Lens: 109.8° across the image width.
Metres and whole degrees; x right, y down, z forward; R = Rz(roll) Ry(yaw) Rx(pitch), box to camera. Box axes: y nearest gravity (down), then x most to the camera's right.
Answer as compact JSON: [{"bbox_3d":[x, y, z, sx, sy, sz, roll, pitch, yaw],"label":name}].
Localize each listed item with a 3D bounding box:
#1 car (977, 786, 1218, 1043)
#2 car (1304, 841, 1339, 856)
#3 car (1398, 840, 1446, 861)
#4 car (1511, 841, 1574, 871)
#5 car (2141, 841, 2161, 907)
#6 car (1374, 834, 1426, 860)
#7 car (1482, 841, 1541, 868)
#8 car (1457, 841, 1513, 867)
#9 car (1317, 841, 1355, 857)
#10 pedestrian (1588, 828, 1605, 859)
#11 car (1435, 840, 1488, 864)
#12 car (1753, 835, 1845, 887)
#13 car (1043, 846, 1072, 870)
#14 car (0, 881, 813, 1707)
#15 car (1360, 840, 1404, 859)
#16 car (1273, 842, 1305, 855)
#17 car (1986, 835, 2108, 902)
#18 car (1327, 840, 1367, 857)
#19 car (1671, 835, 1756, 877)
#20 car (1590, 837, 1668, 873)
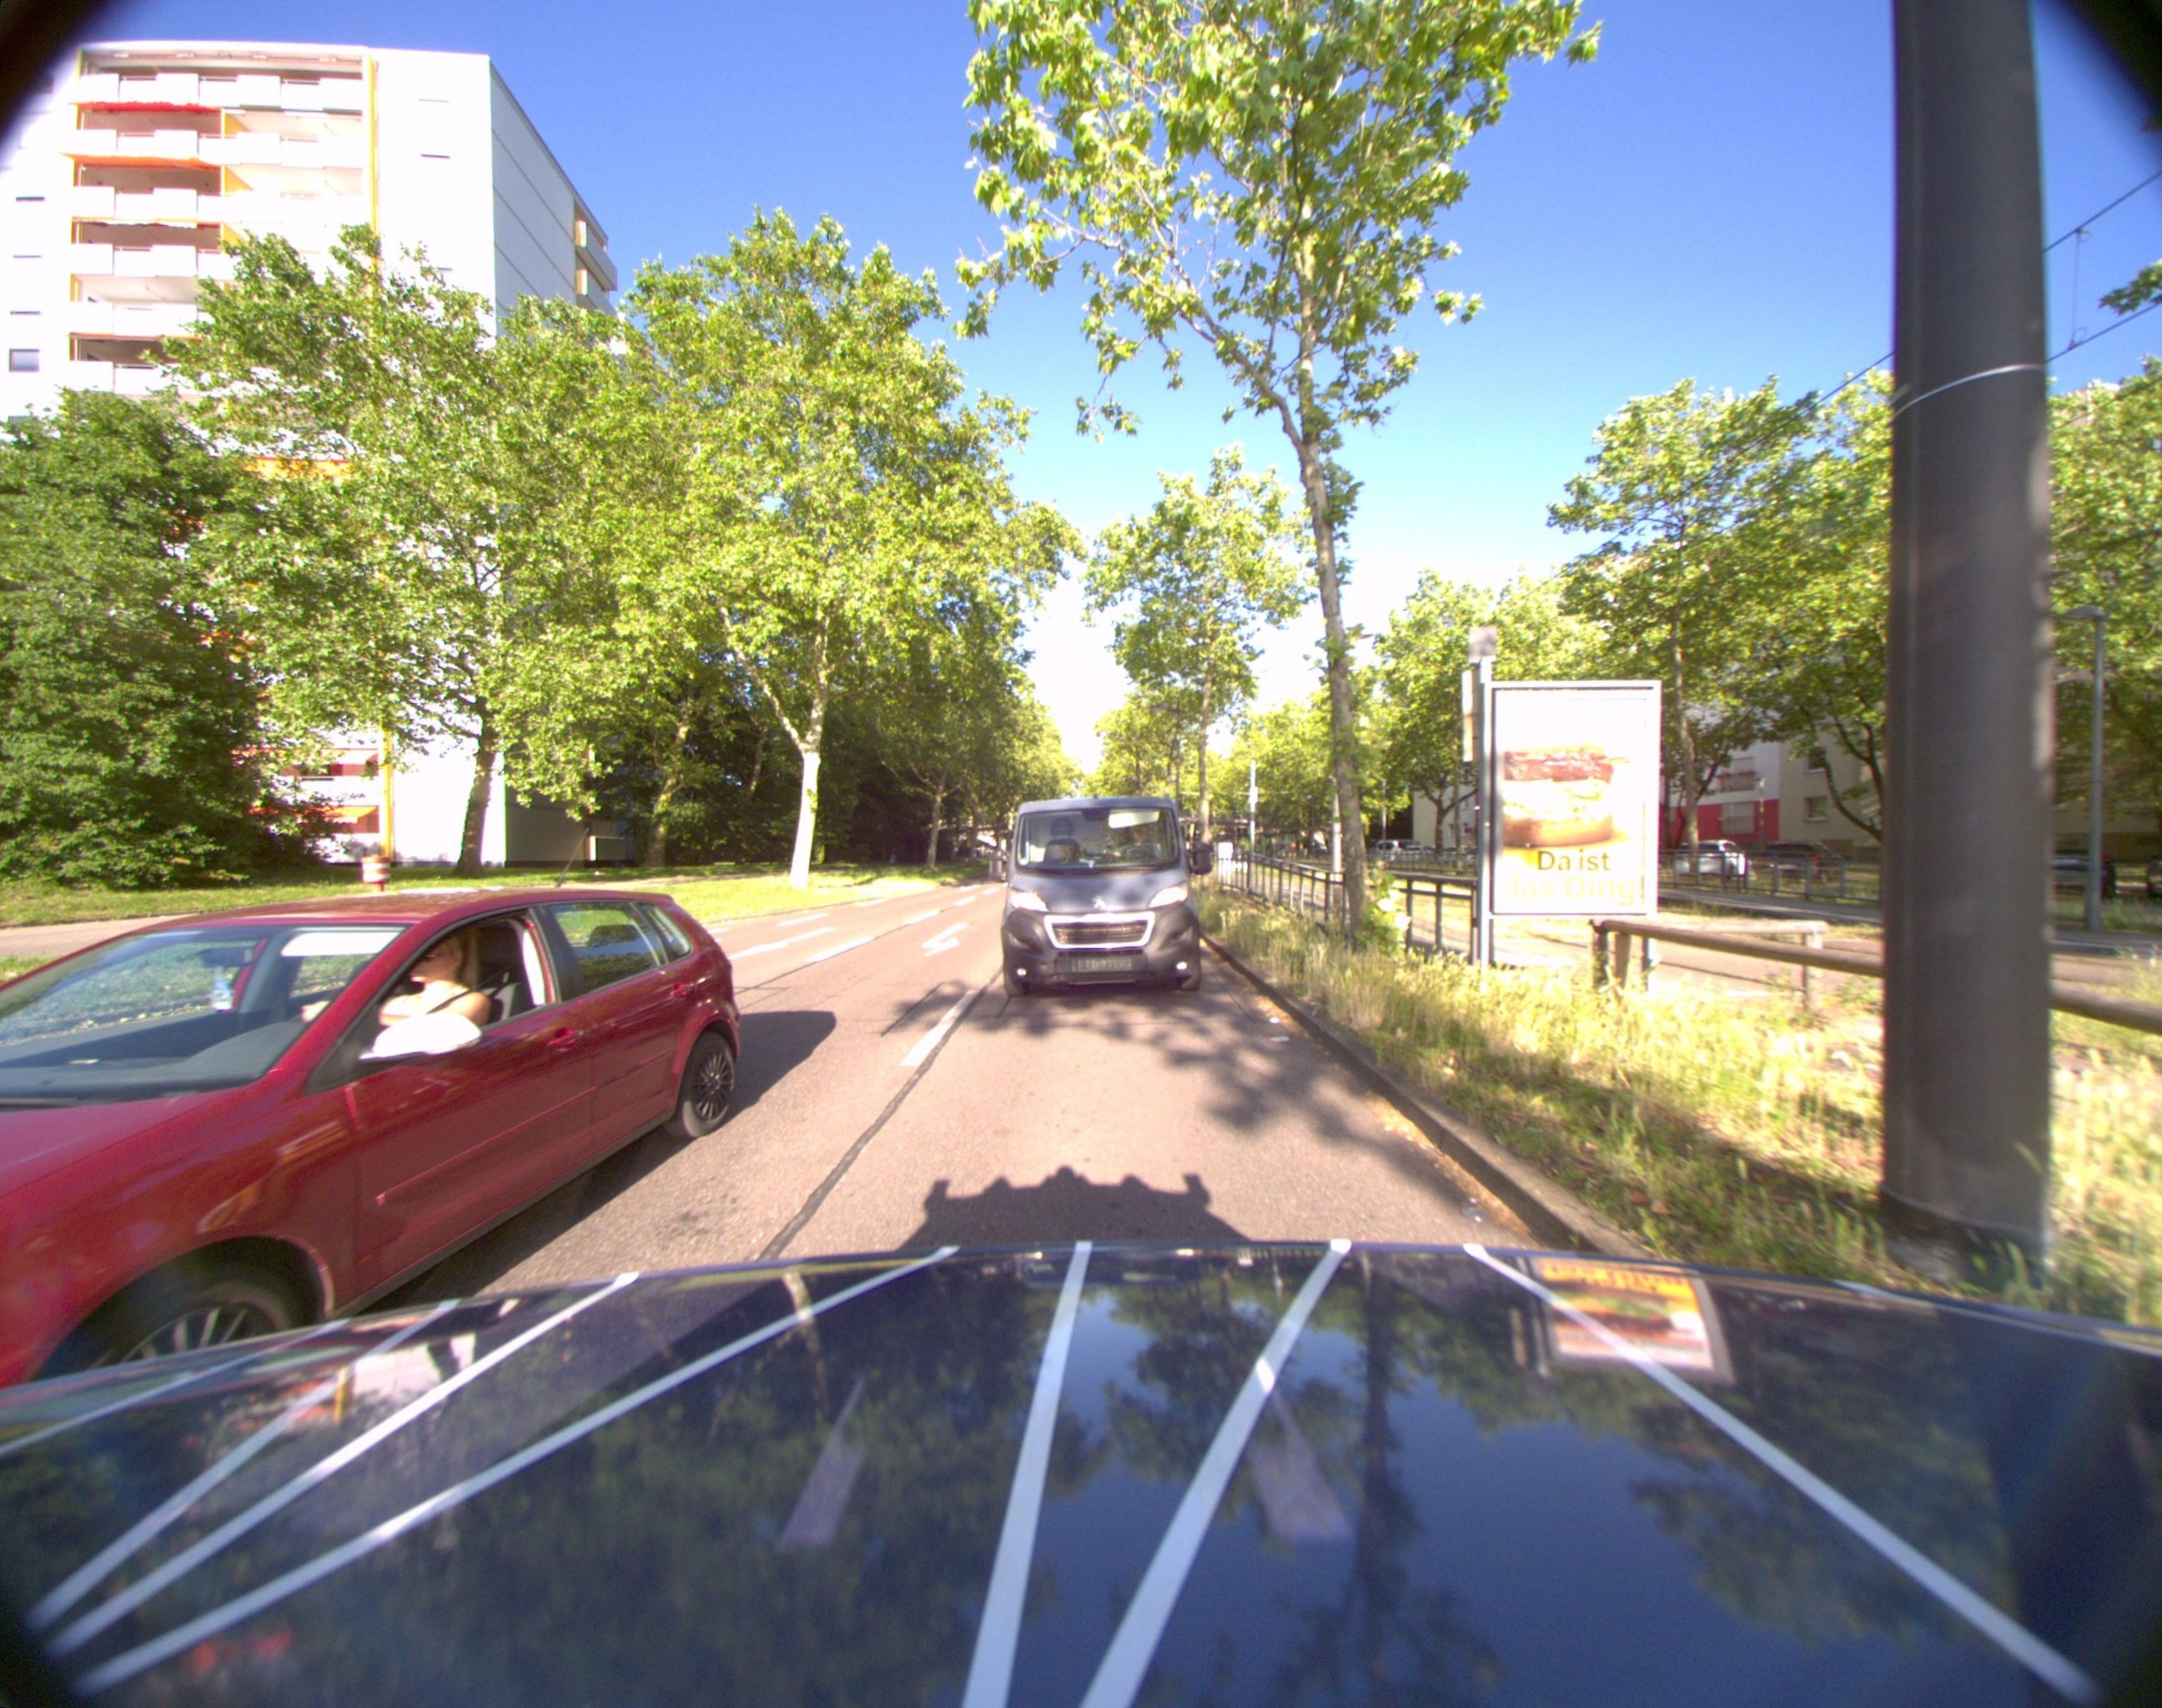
[{"bbox_3d":[0.159,0.489,9.414,2.040,2.191,5.660,-1,1,0],"label":"car"},{"bbox_3d":[26.231,-0.608,82.693,4.057,1.490,1.791,-2,0,-42],"label":"car"},{"bbox_3d":[25.772,-0.265,57.437,4.057,1.490,1.791,-2,0,-42],"label":"car"},{"bbox_3d":[25.076,0.104,41.246,4.057,1.490,1.791,-2,0,-42],"label":"car"},{"bbox_3d":[24.568,0.409,16.296,4.057,1.380,1.791,-2,0,-40],"label":"car"},{"bbox_3d":[25.374,-0.575,60.362,4.441,1.908,2.016,-2,0,-42],"label":"car"},{"bbox_3d":[25.575,0.031,45.064,4.057,1.490,1.791,-2,0,-42],"label":"car"},{"bbox_3d":[25.694,-0.005,48.261,4.057,1.490,1.791,-2,0,-42],"label":"car"},{"bbox_3d":[25.520,-0.527,76.028,4.057,1.490,1.791,-2,0,-42],"label":"car"},{"bbox_3d":[33.825,-0.673,49.856,0.680,2.002,0.645,-1,1,-3],"label":"pedestrian"},{"bbox_3d":[25.585,-0.162,51.010,4.057,1.490,1.791,-2,0,-42],"label":"car"},{"bbox_3d":[25.085,0.217,26.506,4.057,1.654,1.791,-2,0,-39],"label":"car"},{"bbox_3d":[-1.629,0.253,53.657,1.913,1.549,4.725,-1,0,-1],"label":"car"},{"bbox_3d":[-2.954,1.003,3.191,1.771,1.549,4.727,-1,0,3],"label":"car"},{"bbox_3d":[25.283,-0.390,63.713,4.057,1.490,1.791,-2,0,-42],"label":"car"},{"bbox_3d":[25.549,-0.647,93.215,4.057,1.490,1.791,-2,0,-42],"label":"car"},{"bbox_3d":[24.575,0.316,19.399,4.057,1.490,1.791,-2,0,-39],"label":"car"},{"bbox_3d":[25.469,-0.499,72.651,4.057,1.490,1.791,-2,0,-42],"label":"car"},{"bbox_3d":[25.028,0.069,30.008,4.057,1.490,1.791,-2,0,-39],"label":"car"},{"bbox_3d":[24.464,0.025,33.884,4.057,1.490,1.791,-2,0,-39],"label":"car"}]
